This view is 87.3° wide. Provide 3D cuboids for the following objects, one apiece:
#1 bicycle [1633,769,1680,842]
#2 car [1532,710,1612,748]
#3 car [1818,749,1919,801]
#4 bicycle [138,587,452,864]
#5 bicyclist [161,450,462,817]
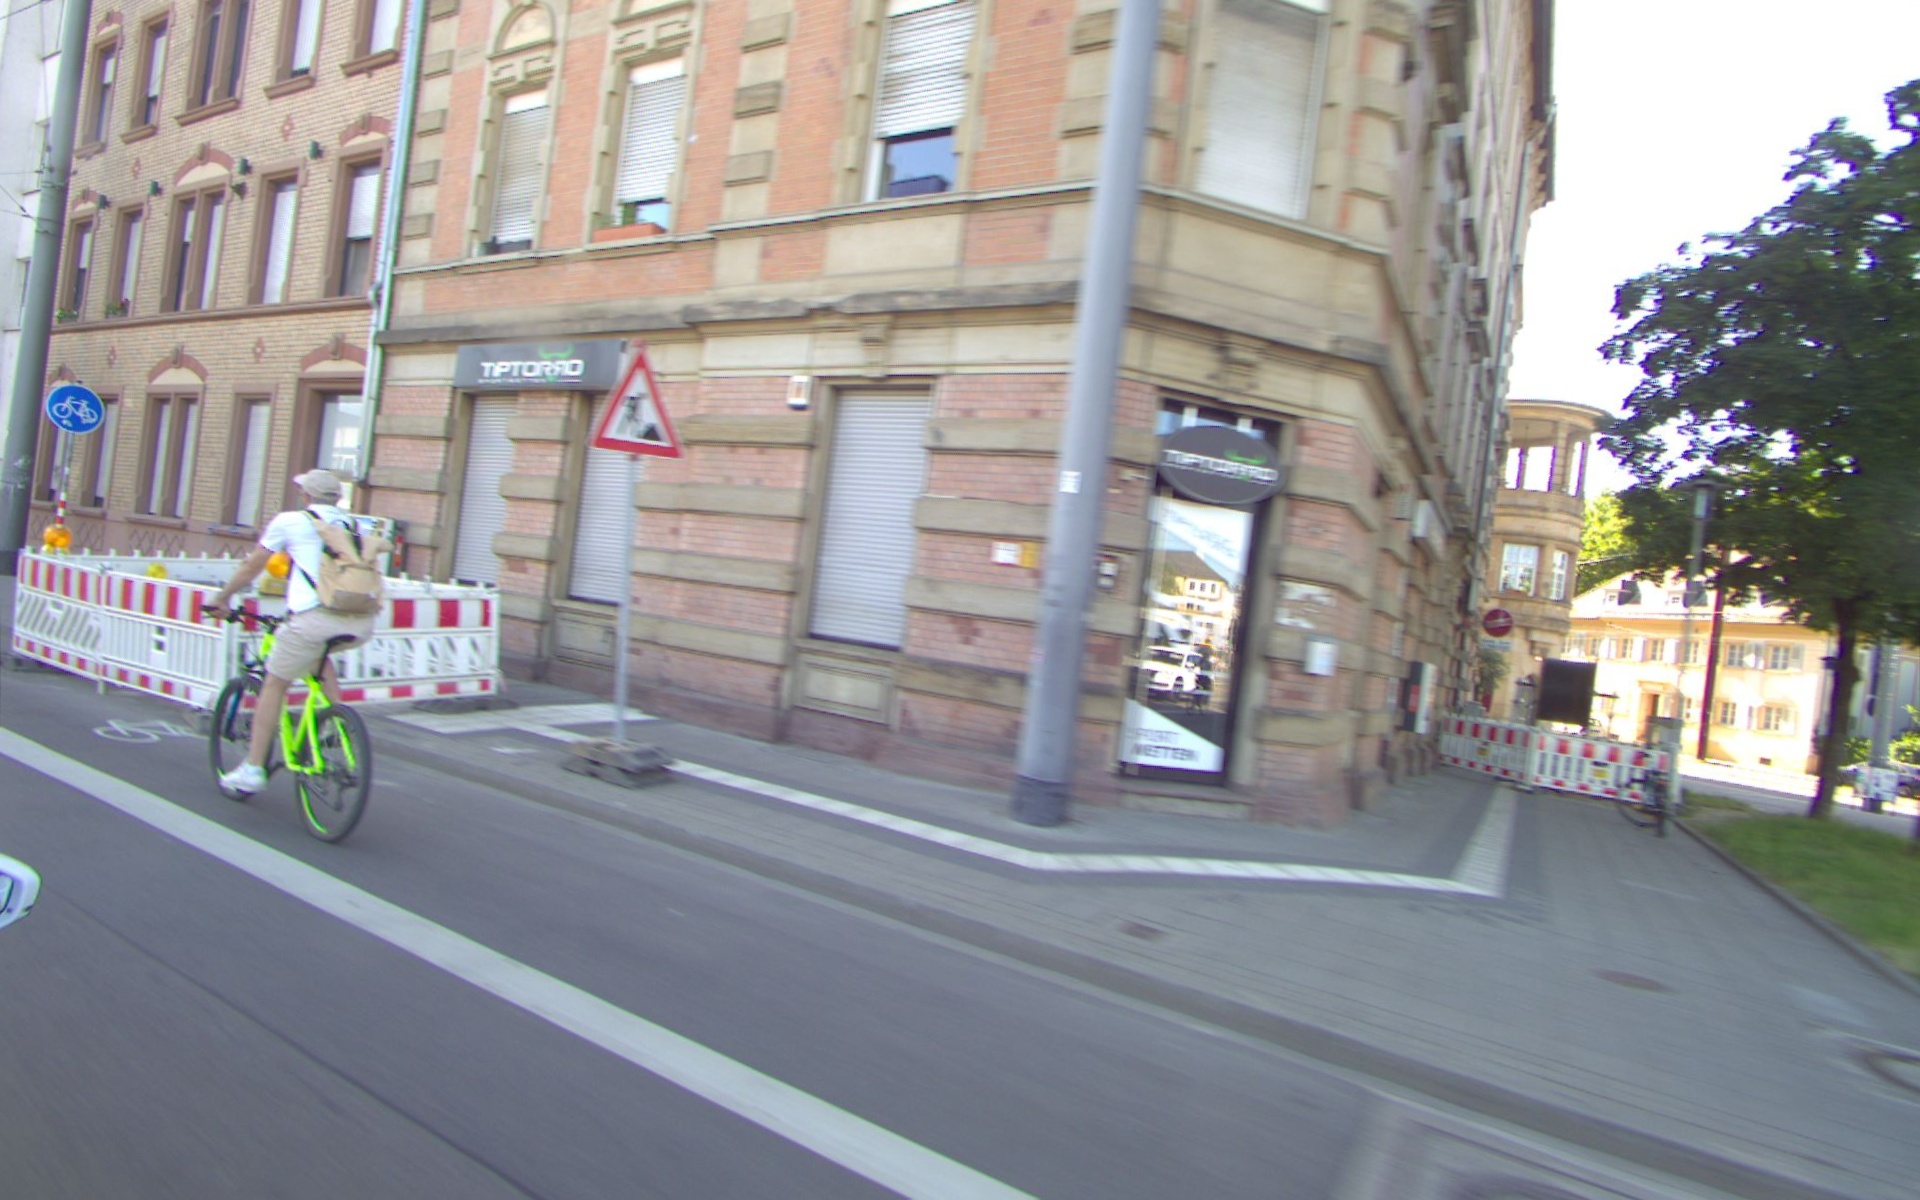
[{"bbox_3d":[9.486,2.765,13.681,0.398,0.865,1.419,6,-3,37],"label":"bicycle"},{"bbox_3d":[36.390,7.655,59.922,1.887,1.640,3.814,7,-2,-12],"label":"car"},{"bbox_3d":[40.026,7.621,43.417,1.973,1.635,3.985,9,-3,-20],"label":"car"},{"bbox_3d":[-3.631,0.604,5.431,1.901,1.131,0.532,7,-1,31],"label":"bicycle"},{"bbox_3d":[-3.388,0.153,5.271,1.101,1.702,0.683,6,-2,28],"label":"bicyclist"}]
